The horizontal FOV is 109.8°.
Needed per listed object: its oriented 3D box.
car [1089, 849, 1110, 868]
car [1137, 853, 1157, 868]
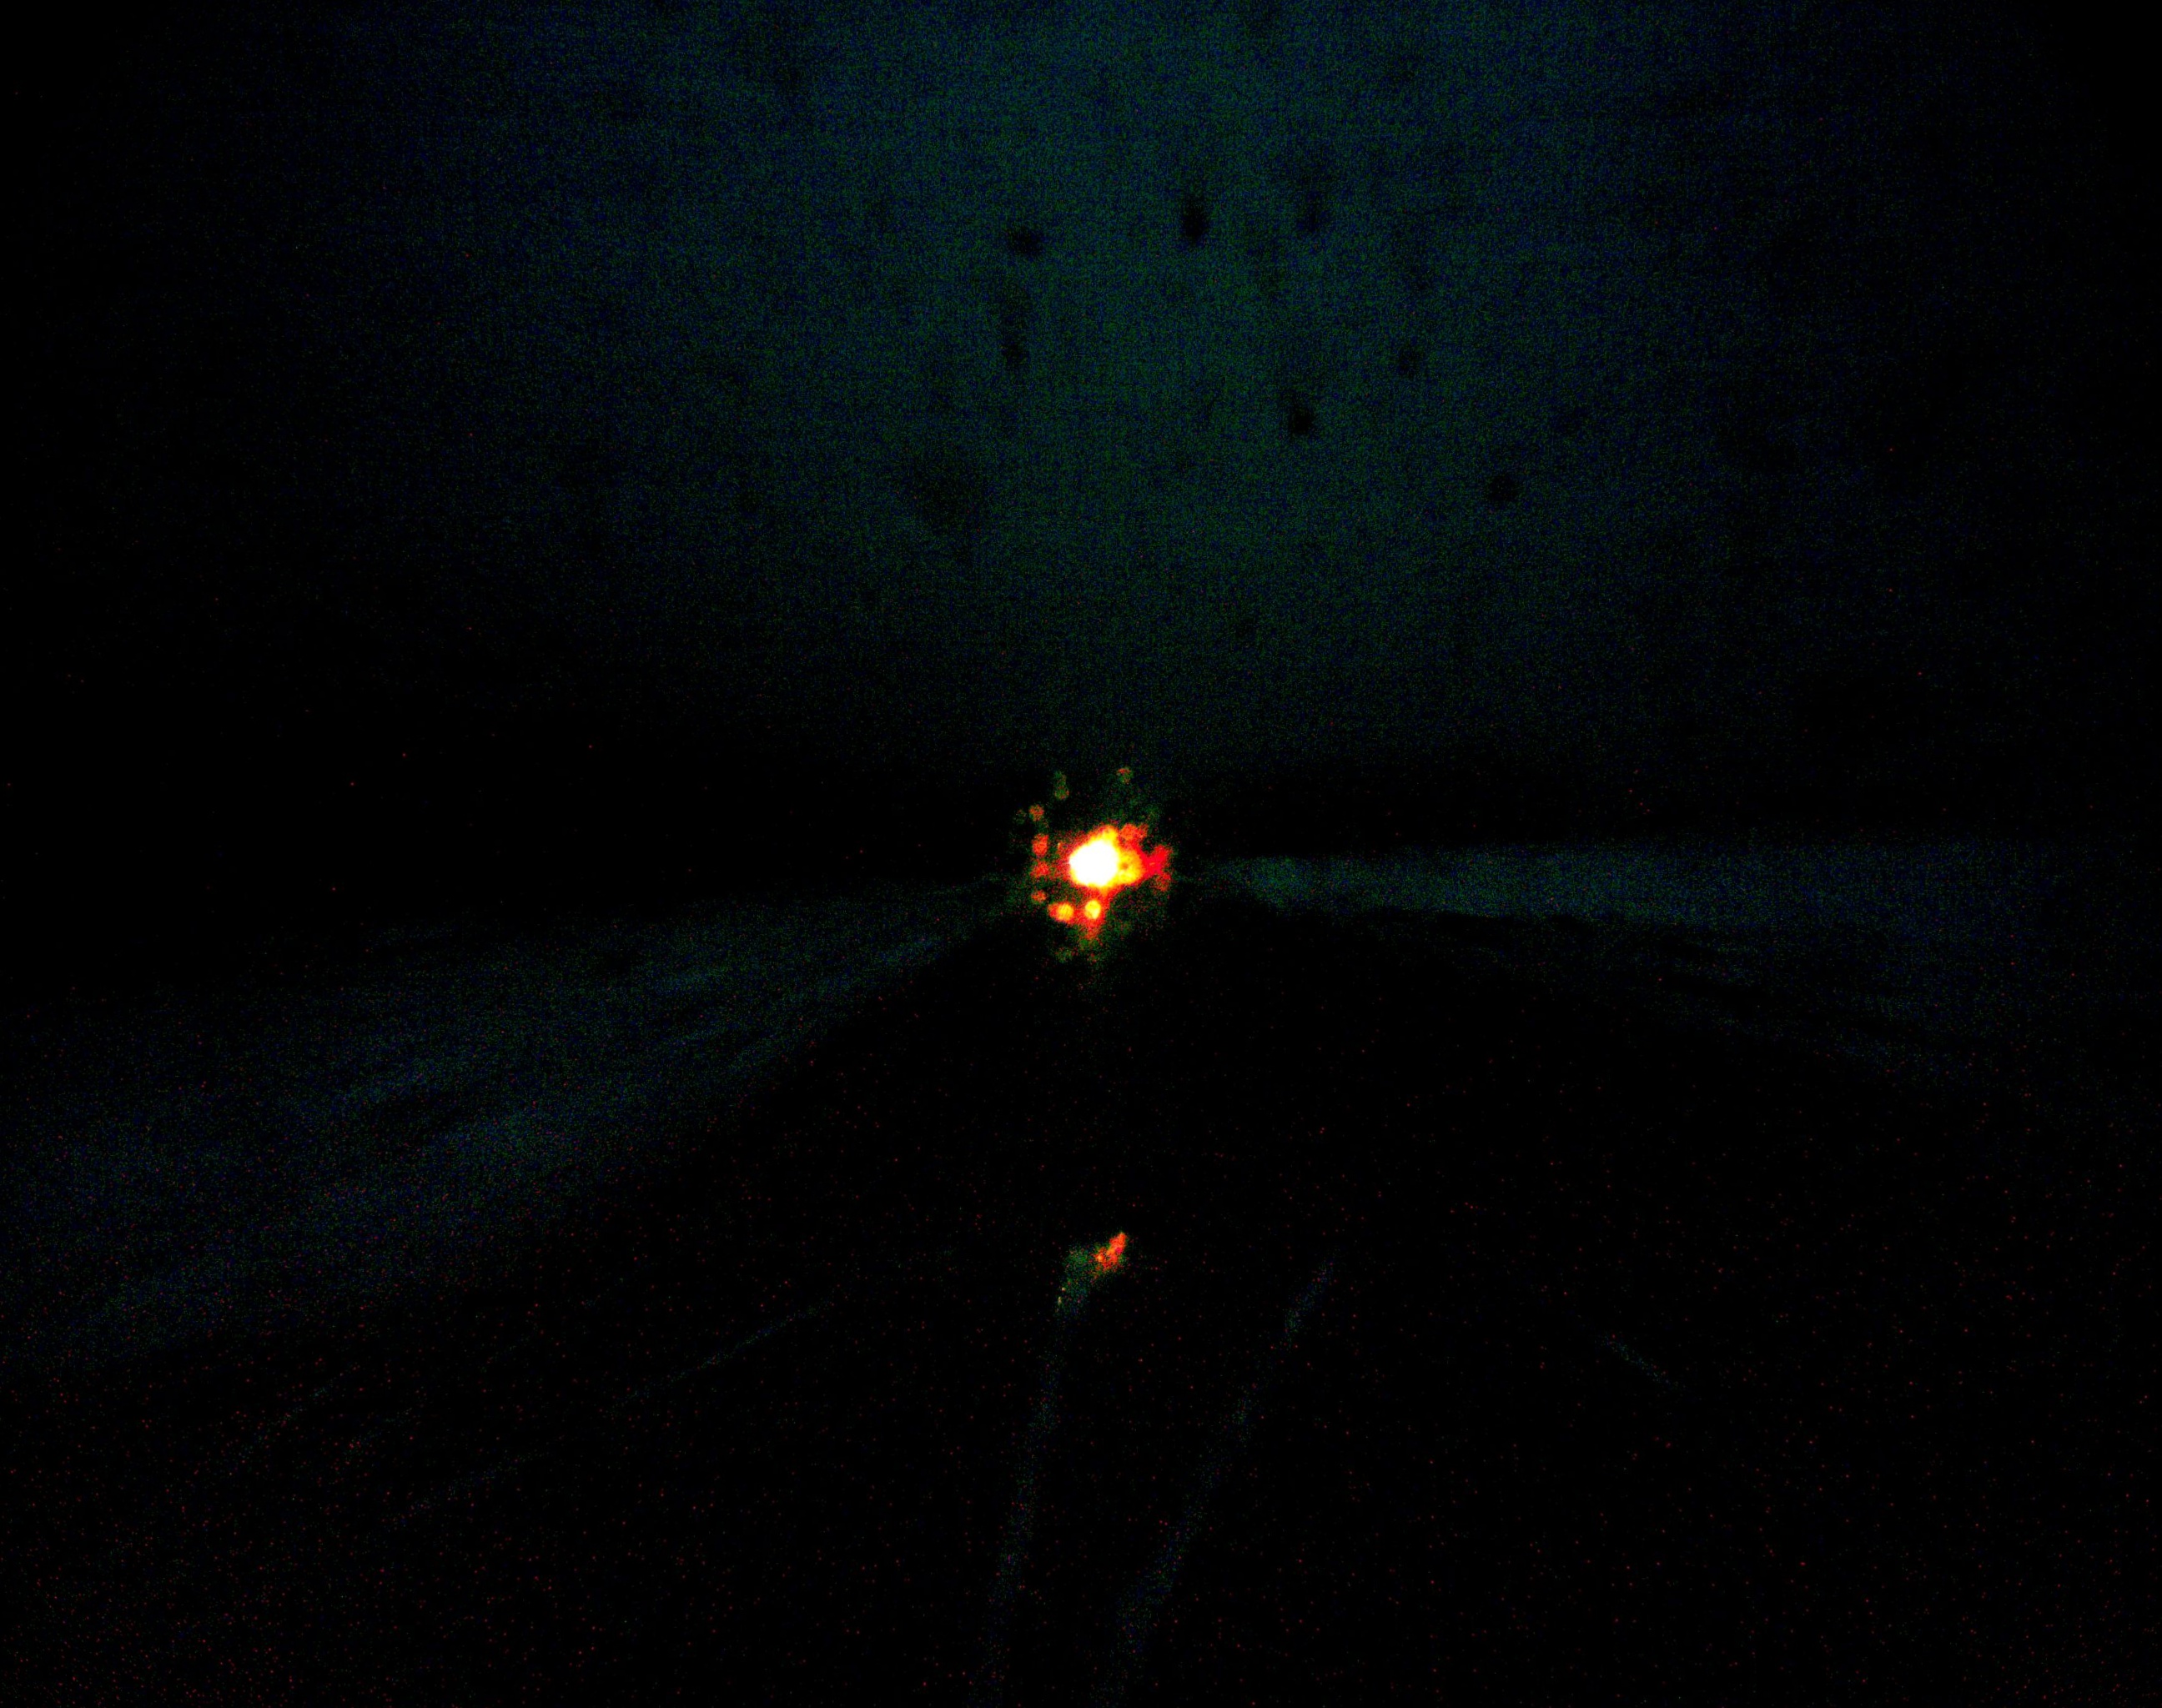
[{"bbox_3d":[2.152,0.499,87.916,1.998,2.002,4.001,-5,1,5],"label":"car"},{"bbox_3d":[6.401,0.619,73.870,1.732,1.338,4.222,0,1,2],"label":"car"}]
